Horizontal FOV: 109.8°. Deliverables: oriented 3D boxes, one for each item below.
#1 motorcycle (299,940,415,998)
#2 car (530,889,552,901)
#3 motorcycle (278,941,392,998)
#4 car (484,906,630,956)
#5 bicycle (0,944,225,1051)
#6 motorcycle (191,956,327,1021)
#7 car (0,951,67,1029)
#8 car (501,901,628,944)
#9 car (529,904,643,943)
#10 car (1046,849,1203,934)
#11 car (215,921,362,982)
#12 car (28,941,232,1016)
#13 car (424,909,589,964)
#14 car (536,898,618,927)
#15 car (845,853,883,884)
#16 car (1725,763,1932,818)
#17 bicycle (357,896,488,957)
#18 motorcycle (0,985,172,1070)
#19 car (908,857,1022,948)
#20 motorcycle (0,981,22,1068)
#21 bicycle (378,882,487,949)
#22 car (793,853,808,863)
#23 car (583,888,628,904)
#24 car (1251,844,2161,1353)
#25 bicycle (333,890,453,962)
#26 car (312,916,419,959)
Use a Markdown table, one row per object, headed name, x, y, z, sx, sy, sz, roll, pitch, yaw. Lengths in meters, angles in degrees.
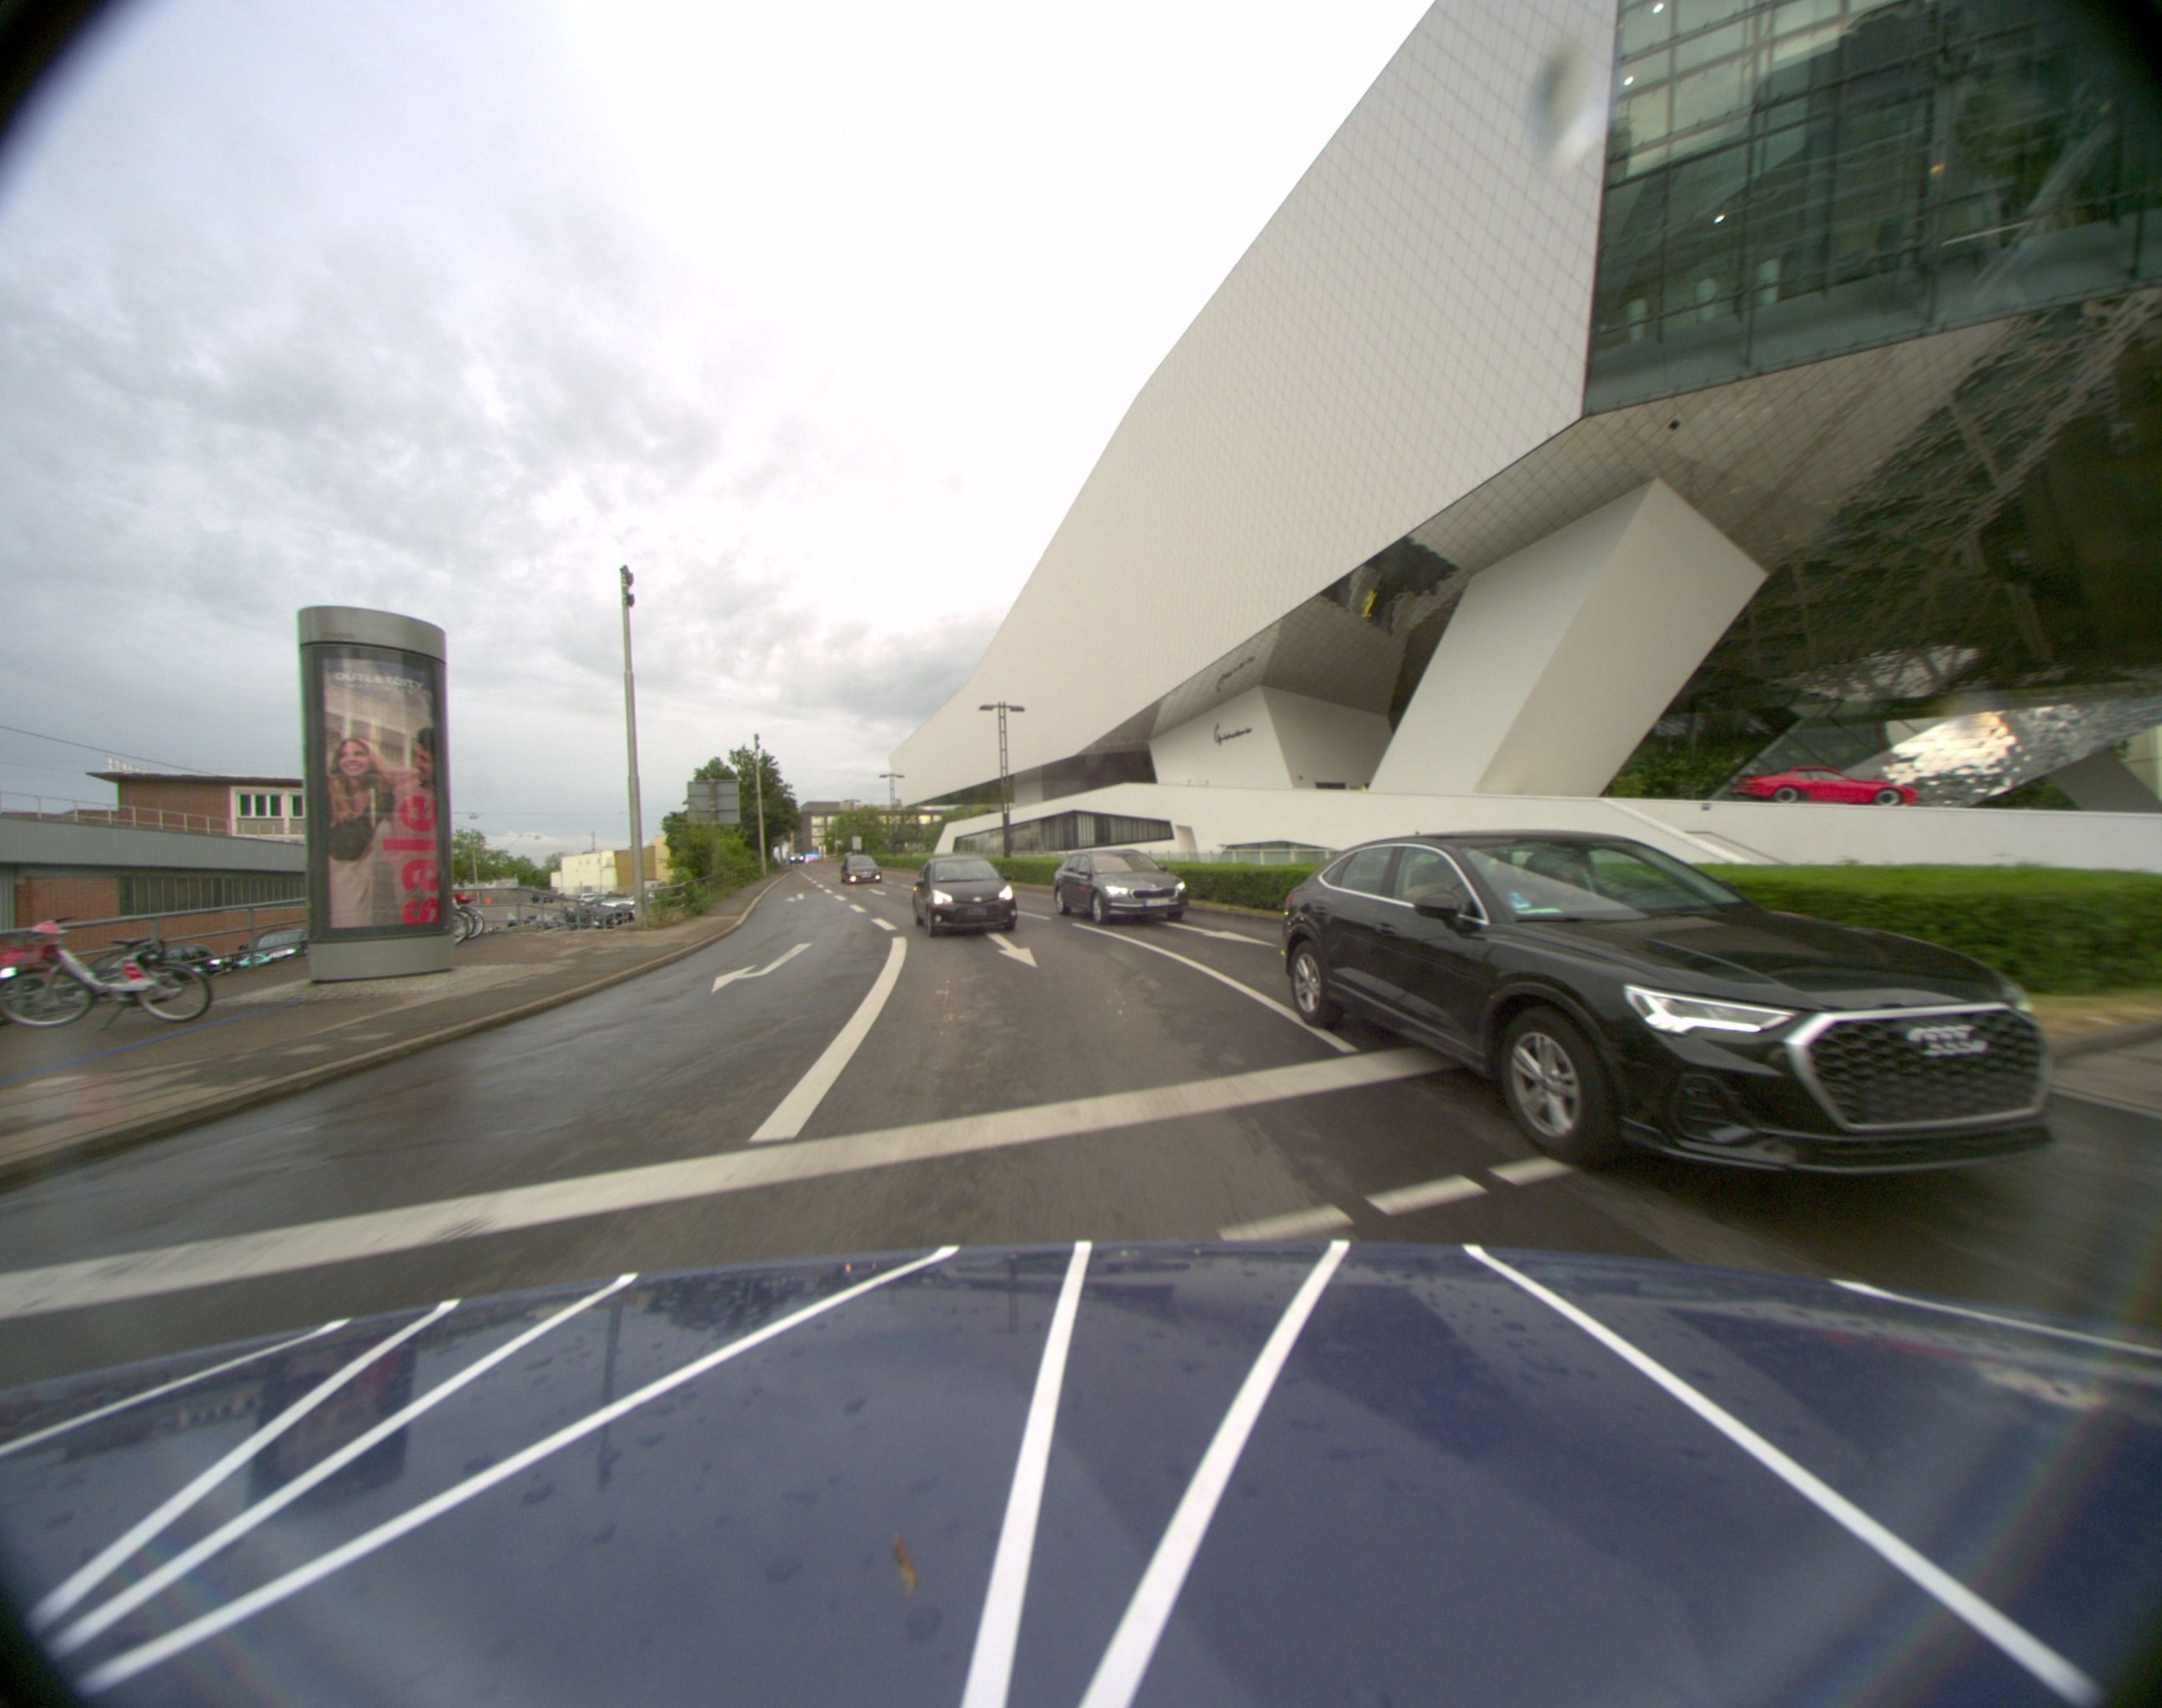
| name | x | y | z | sx | sy | sz | roll | pitch | yaw |
| --- | --- | --- | --- | --- | --- | --- | --- | --- | --- |
| motorcycle | -14.794 | 2.334 | 15.578 | 1.619 | 0.917 | 0.420 | -5 | 3 | -35 |
| car | -75.086 | 5.710 | 105.624 | 1.724 | 1.417 | 3.989 | -3 | 0 | -45 |
| motorcycle | -15.893 | 2.448 | 16.237 | 1.619 | 0.917 | 0.420 | -5 | 3 | -35 |
| car | -19.119 | 2.789 | 27.876 | 3.999 | 1.417 | 1.720 | -3 | 0 | -6 |
| bicycle | -9.854 | 1.437 | 7.707 | 1.616 | 0.916 | 0.421 | -2 | 1 | -9 |
| motorcycle | -15.293 | 2.484 | 14.189 | 1.619 | 0.917 | 0.420 | -4 | 3 | -33 |
| car | -24.249 | 3.080 | 15.634 | 1.891 | 1.542 | 4.500 | -3 | 0 | -21 |
| car | -21.517 | 2.837 | 31.802 | 3.999 | 1.417 | 1.720 | -3 | 0 | -6 |
| car | -22.710 | 3.168 | 34.976 | 3.999 | 1.417 | 1.720 | -3 | 0 | -6 |
| car | 0.755 | 0.671 | 16.158 | 1.819 | 1.430 | 4.295 | -4 | 2 | -18 |
| car | -29.189 | 3.511 | 28.216 | 1.785 | 1.657 | 4.499 | -3 | 0 | -18 |
| car | -26.613 | 3.425 | 21.498 | 1.722 | 1.417 | 3.994 | -3 | 0 | -20 |
| car | -19.021 | 2.702 | 25.313 | 3.999 | 1.417 | 1.720 | -3 | 0 | -6 |
| car | -30.734 | 3.545 | 46.450 | 4.005 | 1.417 | 1.717 | -3 | 0 | -29 |
| car | -11.804 | 0.717 | 41.145 | 1.751 | 1.466 | 4.062 | -4 | 2 | -18 |
| car | 23.996 | -2.056 | 24.623 | 4.233 | 1.377 | 2.003 | 6 | 3 | 23 |
| bicycle | -11.990 | 1.300 | 13.887 | 0.485 | 0.916 | 1.707 | 0 | 1 | 34 |
| motorcycle | -14.906 | 2.567 | 11.325 | 1.618 | 0.917 | 0.481 | -4 | 3 | -28 |
| car | -2.534 | 0.872 | 15.787 | 1.696 | 1.499 | 4.004 | -3 | 2 | -17 |
| motorcycle | -11.575 | 1.859 | 7.567 | 0.403 | 0.885 | 1.537 | -3 | 2 | -23 |
| bicycle | -12.394 | 1.154 | 14.579 | 1.548 | 1.148 | 0.450 | -1 | 2 | -38 |
| car | -43.939 | 0.588 | 118.970 | 1.820 | 1.430 | 4.294 | -2 | -1 | -26 |
| car | -51.788 | 4.551 | 82.770 | 4.006 | 1.417 | 1.717 | -3 | 0 | -35 |
| car | 2.732 | 0.746 | 4.684 | 1.758 | 1.509 | 4.390 | -3 | 1 | -9 |
| bicycle | -11.859 | 1.213 | 13.141 | 0.442 | 1.068 | 1.465 | 1 | 2 | 39 |
| car | -31.456 | 3.627 | 33.572 | 1.722 | 1.396 | 4.269 | -3 | 0 | -18 |
